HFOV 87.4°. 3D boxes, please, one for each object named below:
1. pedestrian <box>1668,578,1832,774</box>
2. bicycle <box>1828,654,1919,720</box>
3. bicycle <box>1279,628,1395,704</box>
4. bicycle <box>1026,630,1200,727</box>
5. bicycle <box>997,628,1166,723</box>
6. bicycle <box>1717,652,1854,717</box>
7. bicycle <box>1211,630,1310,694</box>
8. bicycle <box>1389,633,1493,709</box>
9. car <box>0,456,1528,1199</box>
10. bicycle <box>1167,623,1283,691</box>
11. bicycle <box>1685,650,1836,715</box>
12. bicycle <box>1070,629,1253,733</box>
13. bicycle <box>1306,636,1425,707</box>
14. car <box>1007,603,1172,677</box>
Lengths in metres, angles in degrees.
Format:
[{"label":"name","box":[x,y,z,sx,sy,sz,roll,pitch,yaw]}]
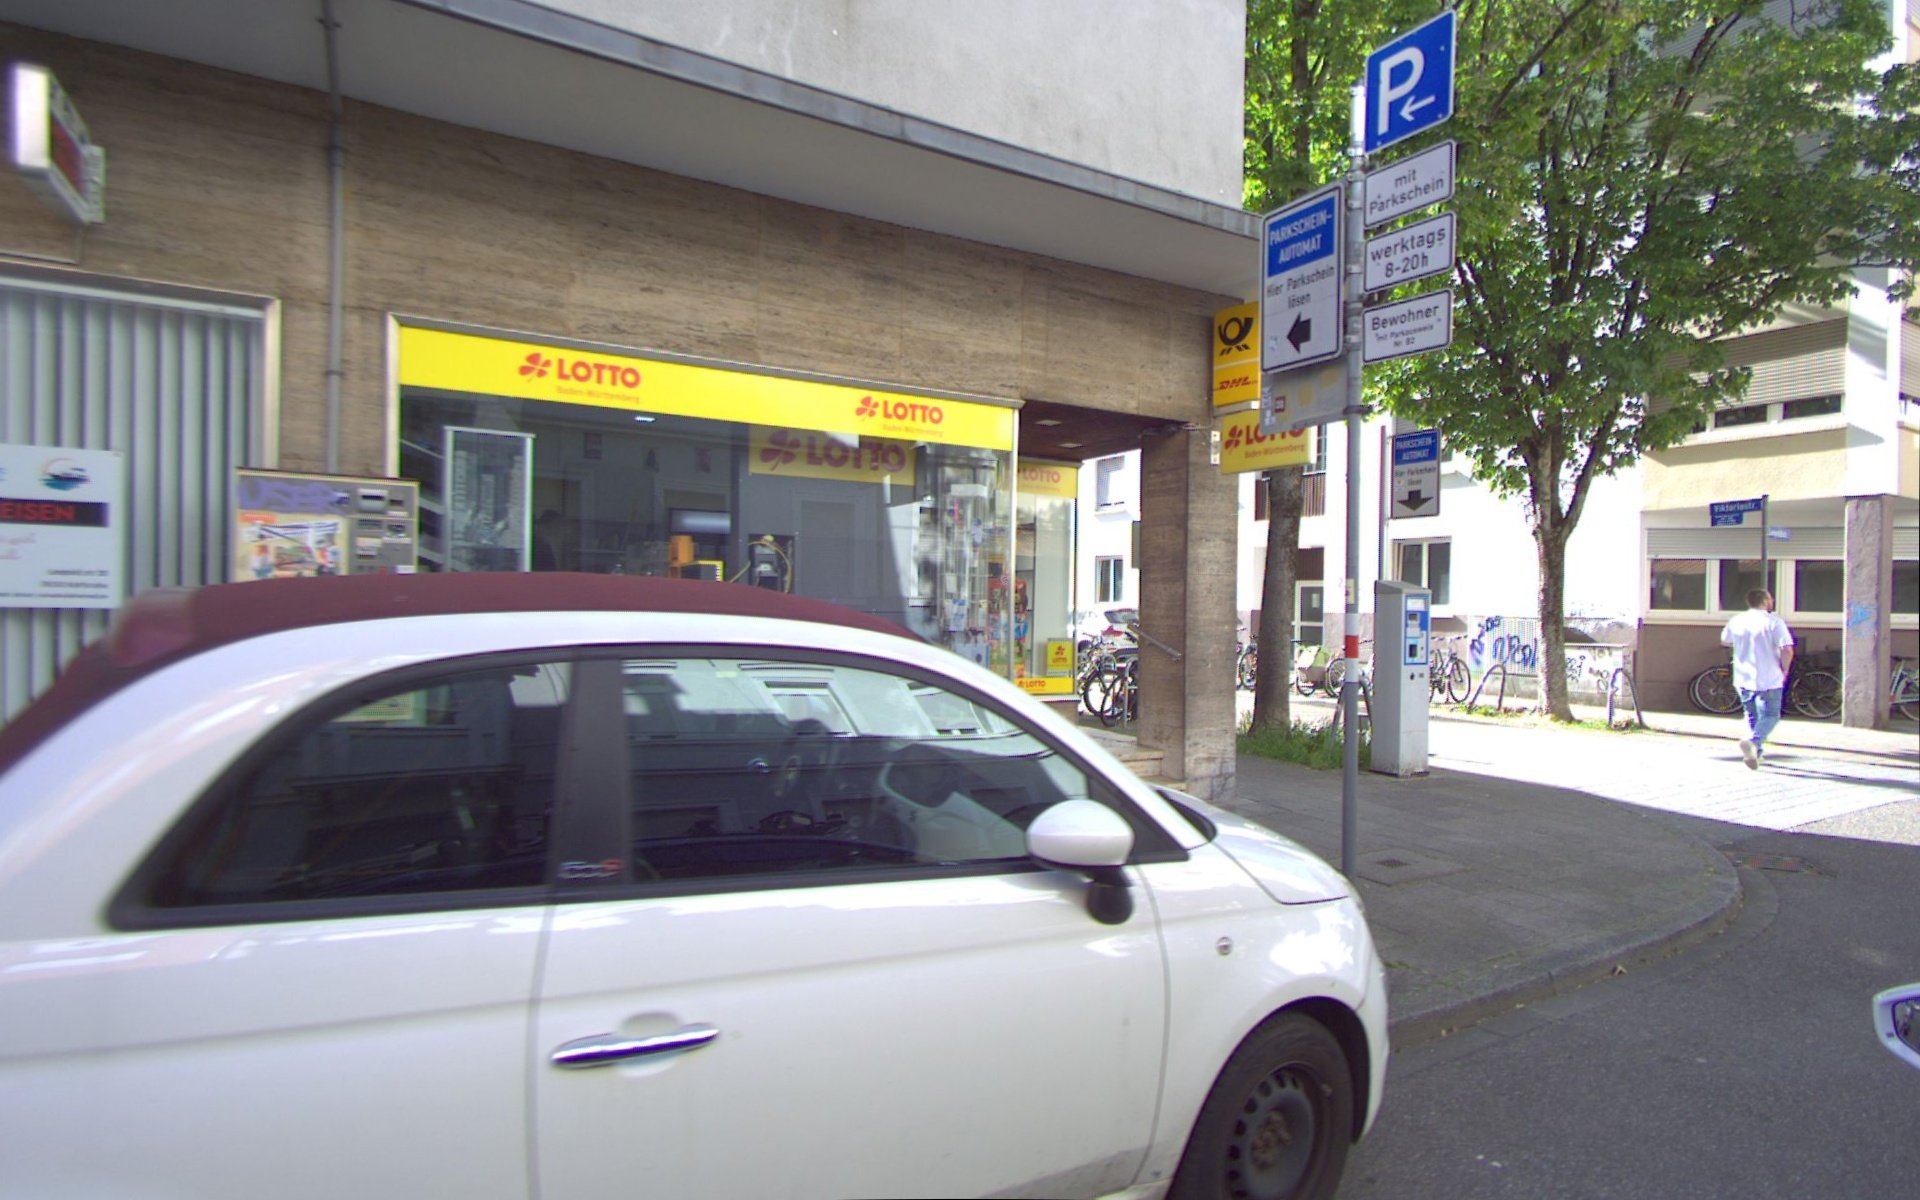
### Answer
[{"label":"pedestrian","box":[8.032,0.742,10.216,1.231,1.857,0.906,2,-1,-30]},{"label":"bicycle","box":[13.799,1.276,14.772,1.538,0.894,0.431,2,2,10]},{"label":"bicycle","box":[6.629,1.130,17.610,2.411,1.201,0.500,-1,0,-31]},{"label":"bicycle","box":[1.983,0.981,12.769,2.376,1.132,0.519,2,-1,-31]},{"label":"bicycle","box":[1.641,0.975,13.258,2.408,1.142,0.701,3,-1,-38]},{"label":"bicycle","box":[12.218,1.242,14.894,1.553,0.909,0.404,0,-1,11]},{"label":"bicycle","box":[5.804,1.167,19.345,1.974,1.081,0.676,-2,1,-31]},{"label":"bicycle","box":[7.749,1.109,16.152,2.039,1.116,0.479,0,0,-31]},{"label":"car","box":[-0.539,0.651,2.410,3.677,1.581,1.660,1,0,-30]},{"label":"bicycle","box":[5.382,1.122,20.372,2.394,1.162,0.830,-3,2,-31]},{"label":"bicycle","box":[12.189,1.247,15.322,1.825,0.925,0.383,1,-1,11]},{"label":"bicycle","box":[2.489,0.967,12.295,2.280,1.158,0.704,2,-1,-30]},{"label":"bicycle","box":[6.876,1.182,16.986,2.155,1.043,0.637,-2,1,-29]},{"label":"car","box":[3.040,0.888,24.447,1.971,1.635,4.142,0,0,-28]}]
